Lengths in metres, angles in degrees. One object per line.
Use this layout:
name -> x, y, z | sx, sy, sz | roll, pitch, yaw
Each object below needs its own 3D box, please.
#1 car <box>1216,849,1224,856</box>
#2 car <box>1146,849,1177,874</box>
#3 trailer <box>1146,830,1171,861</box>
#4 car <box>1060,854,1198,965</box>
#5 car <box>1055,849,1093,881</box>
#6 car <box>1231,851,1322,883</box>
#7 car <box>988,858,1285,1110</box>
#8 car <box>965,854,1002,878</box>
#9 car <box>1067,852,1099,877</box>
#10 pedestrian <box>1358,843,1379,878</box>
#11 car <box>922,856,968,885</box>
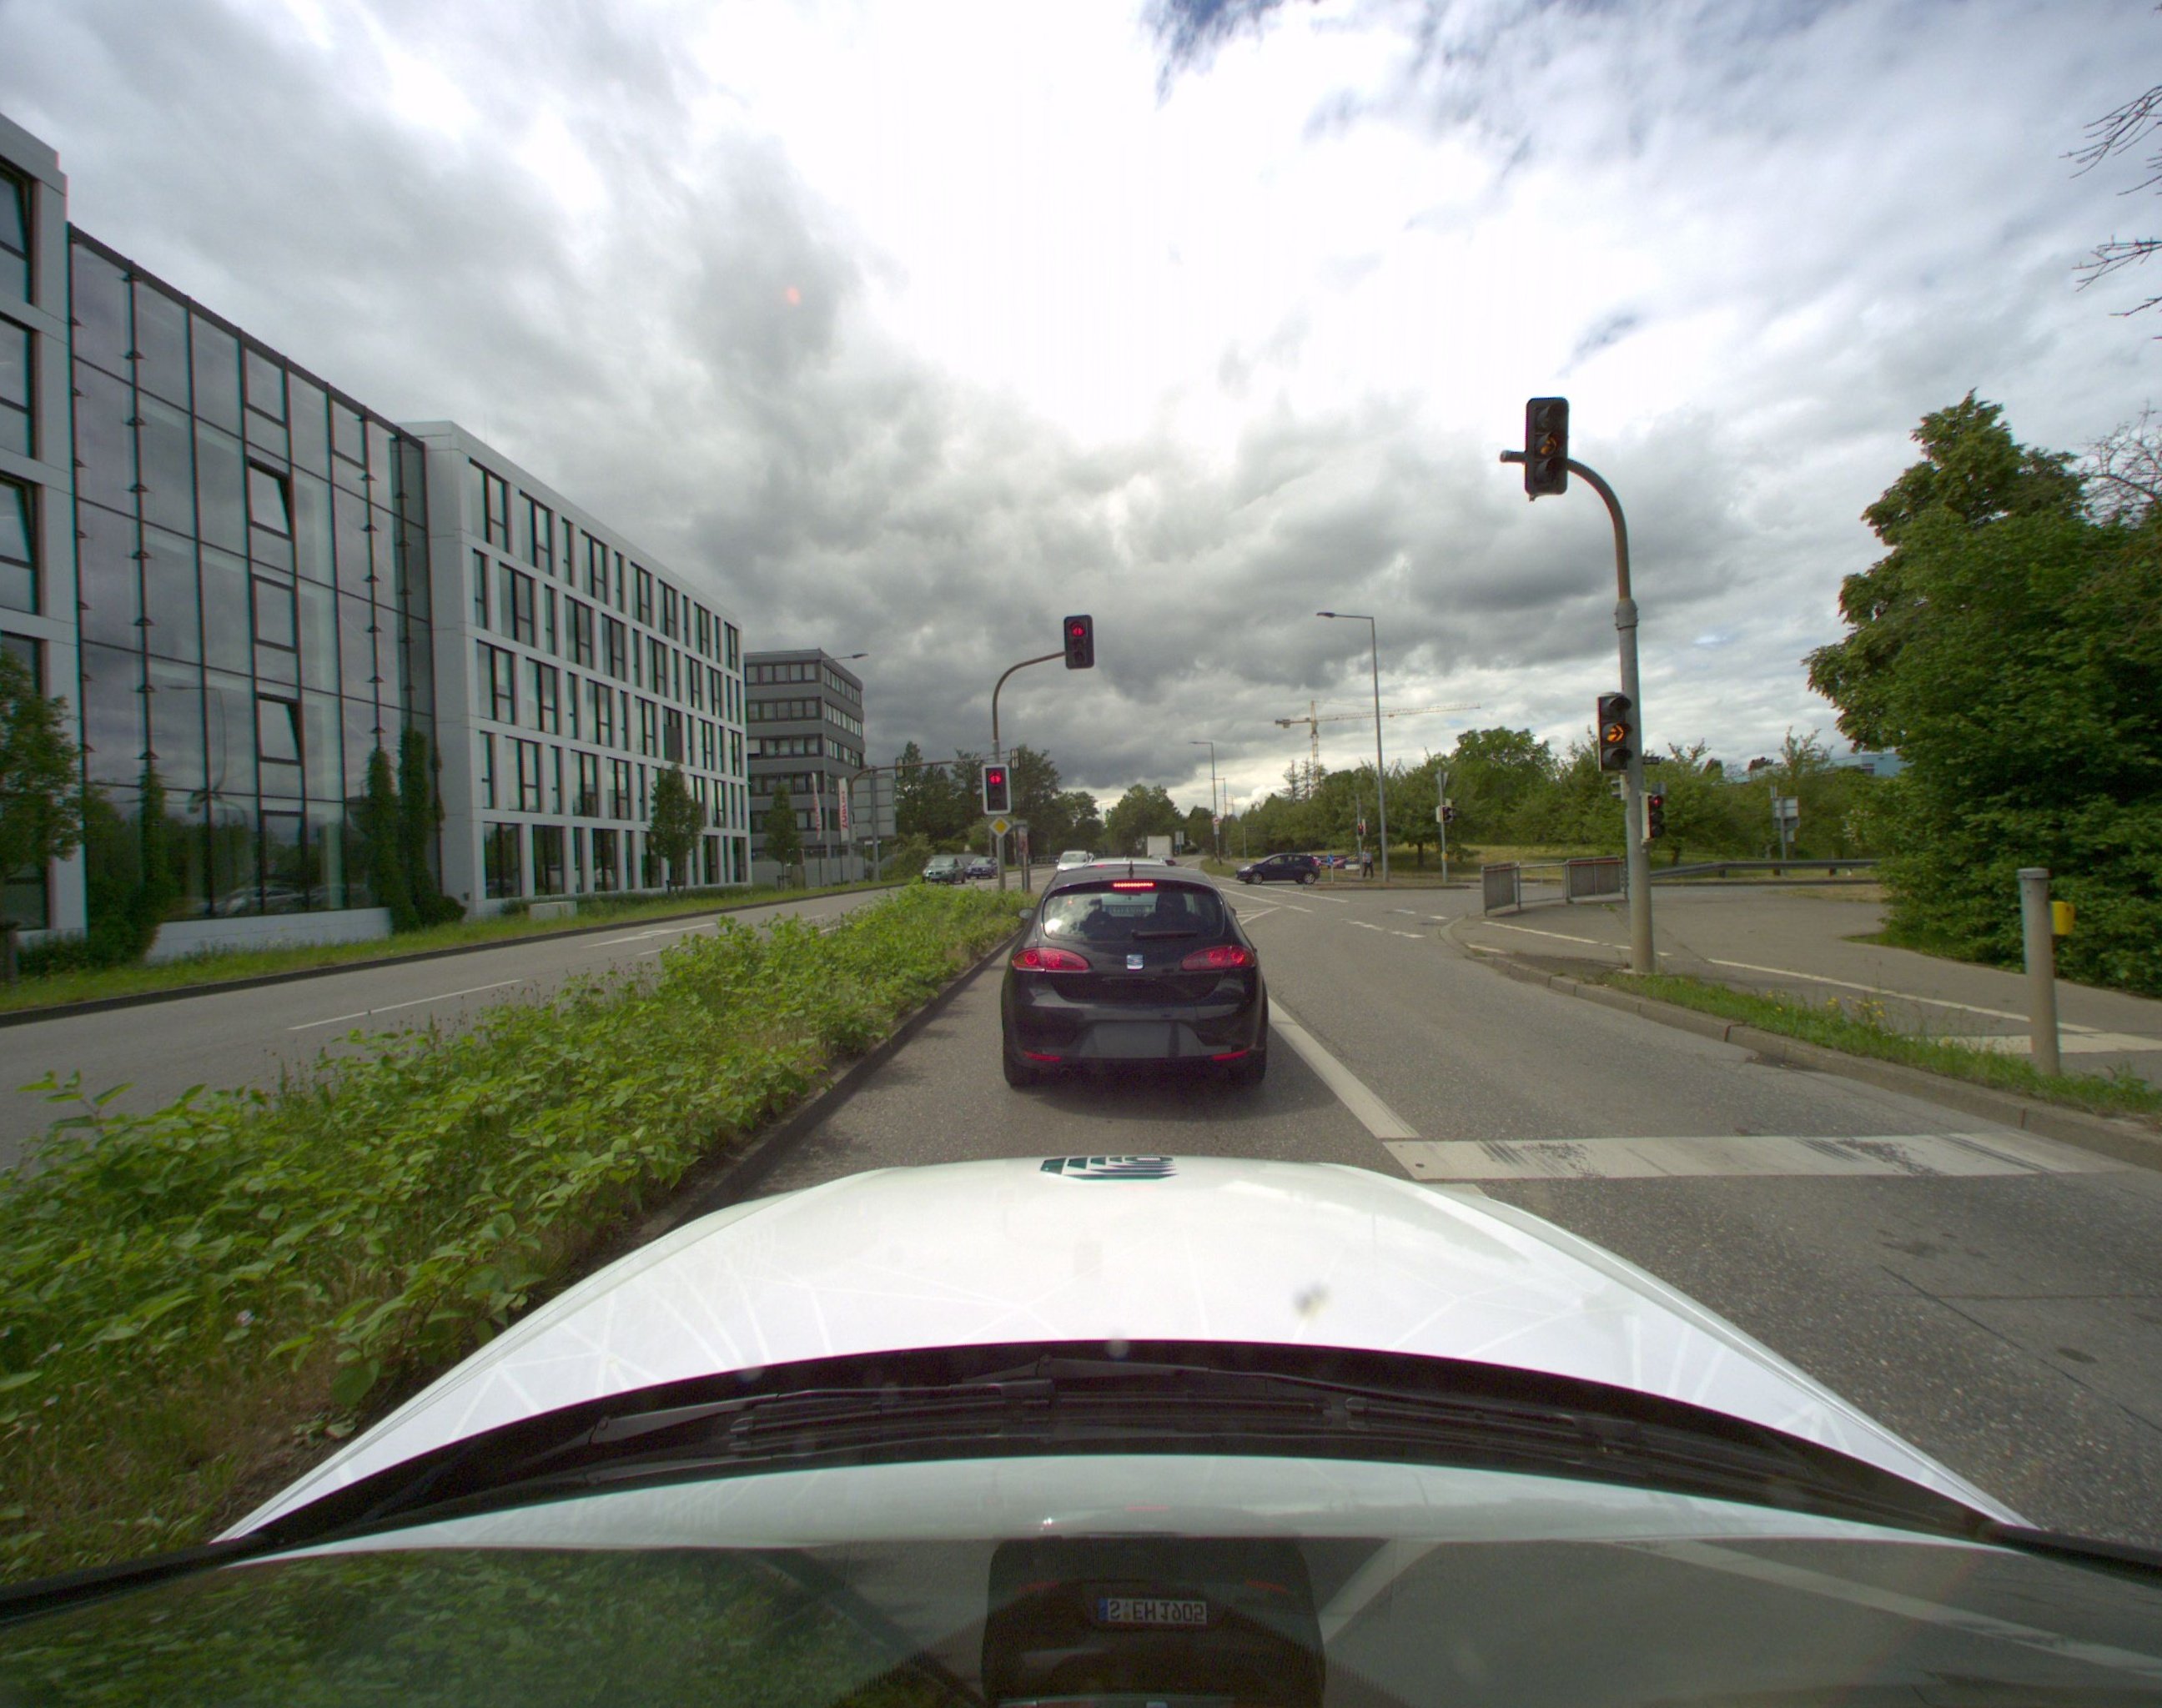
car -> 30.873, -0.338, 180.471 | 1.656, 1.596, 4.013 | -1, -1, 12
car -> 5.343, 0.475, 54.120 | 1.984, 1.565, 4.478 | -1, 0, 5
trailer -> 7.987, -0.806, 83.974 | 2.479, 3.073, 5.595 | 0, -1, 5
car -> 0.738, 0.752, 12.717 | 1.827, 1.467, 3.754 | 0, 0, 3
car -> -0.361, 0.589, 46.368 | 1.812, 1.686, 4.650 | 0, 0, 4
car -> 9.253, 0.593, 38.732 | 3.869, 1.446, 1.759 | 0, -1, -2
car -> 0.381, 0.769, 6.460 | 1.704, 1.417, 3.461 | -1, 0, 2
car -> -6.328, 0.757, 53.061 | 1.546, 1.419, 3.902 | -1, 0, 5
car -> 0.187, 0.637, 52.437 | 1.652, 1.518, 4.091 | -1, 0, 6
pedestrian -> 15.136, 0.340, 42.912 | 0.716, 1.793, 1.043 | 0, -1, 0
car -> -7.258, 0.836, 43.731 | 1.598, 1.432, 3.757 | -1, 0, 4
